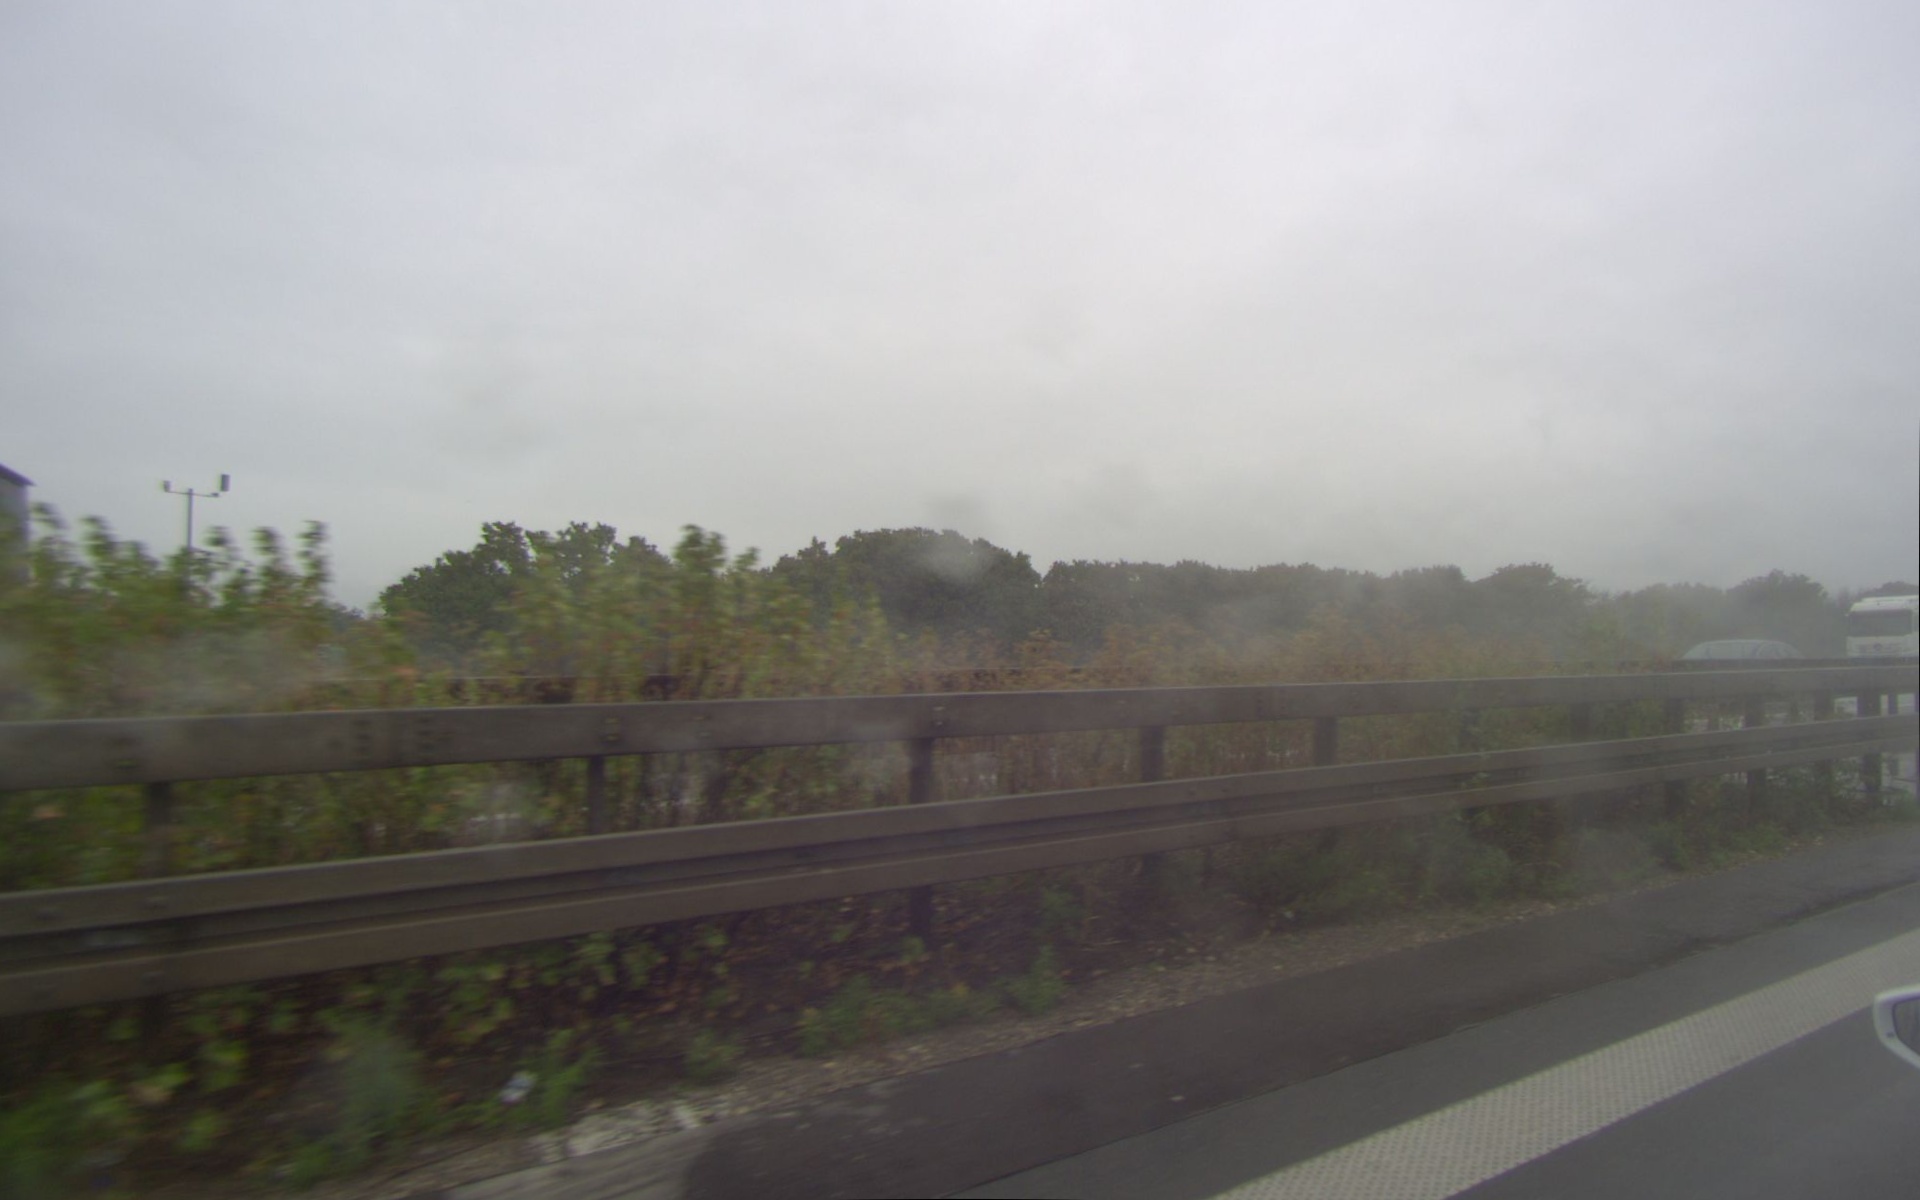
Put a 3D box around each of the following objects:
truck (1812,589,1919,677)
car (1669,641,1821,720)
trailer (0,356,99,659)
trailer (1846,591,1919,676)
[{"bbox_3d":[42.179,1.511,46.399,5.336,3.856,2.610,2,0,-30],"label":"truck"},{"bbox_3d":[18.665,1.857,23.863,3.536,1.700,1.669,2,0,-31],"label":"car"},{"bbox_3d":[-18.196,-1.349,10.649,13.452,3.855,2.284,2,0,-30],"label":"trailer"},{"bbox_3d":[48.868,1.702,50.330,13.425,3.855,2.621,2,0,-30],"label":"trailer"}]
